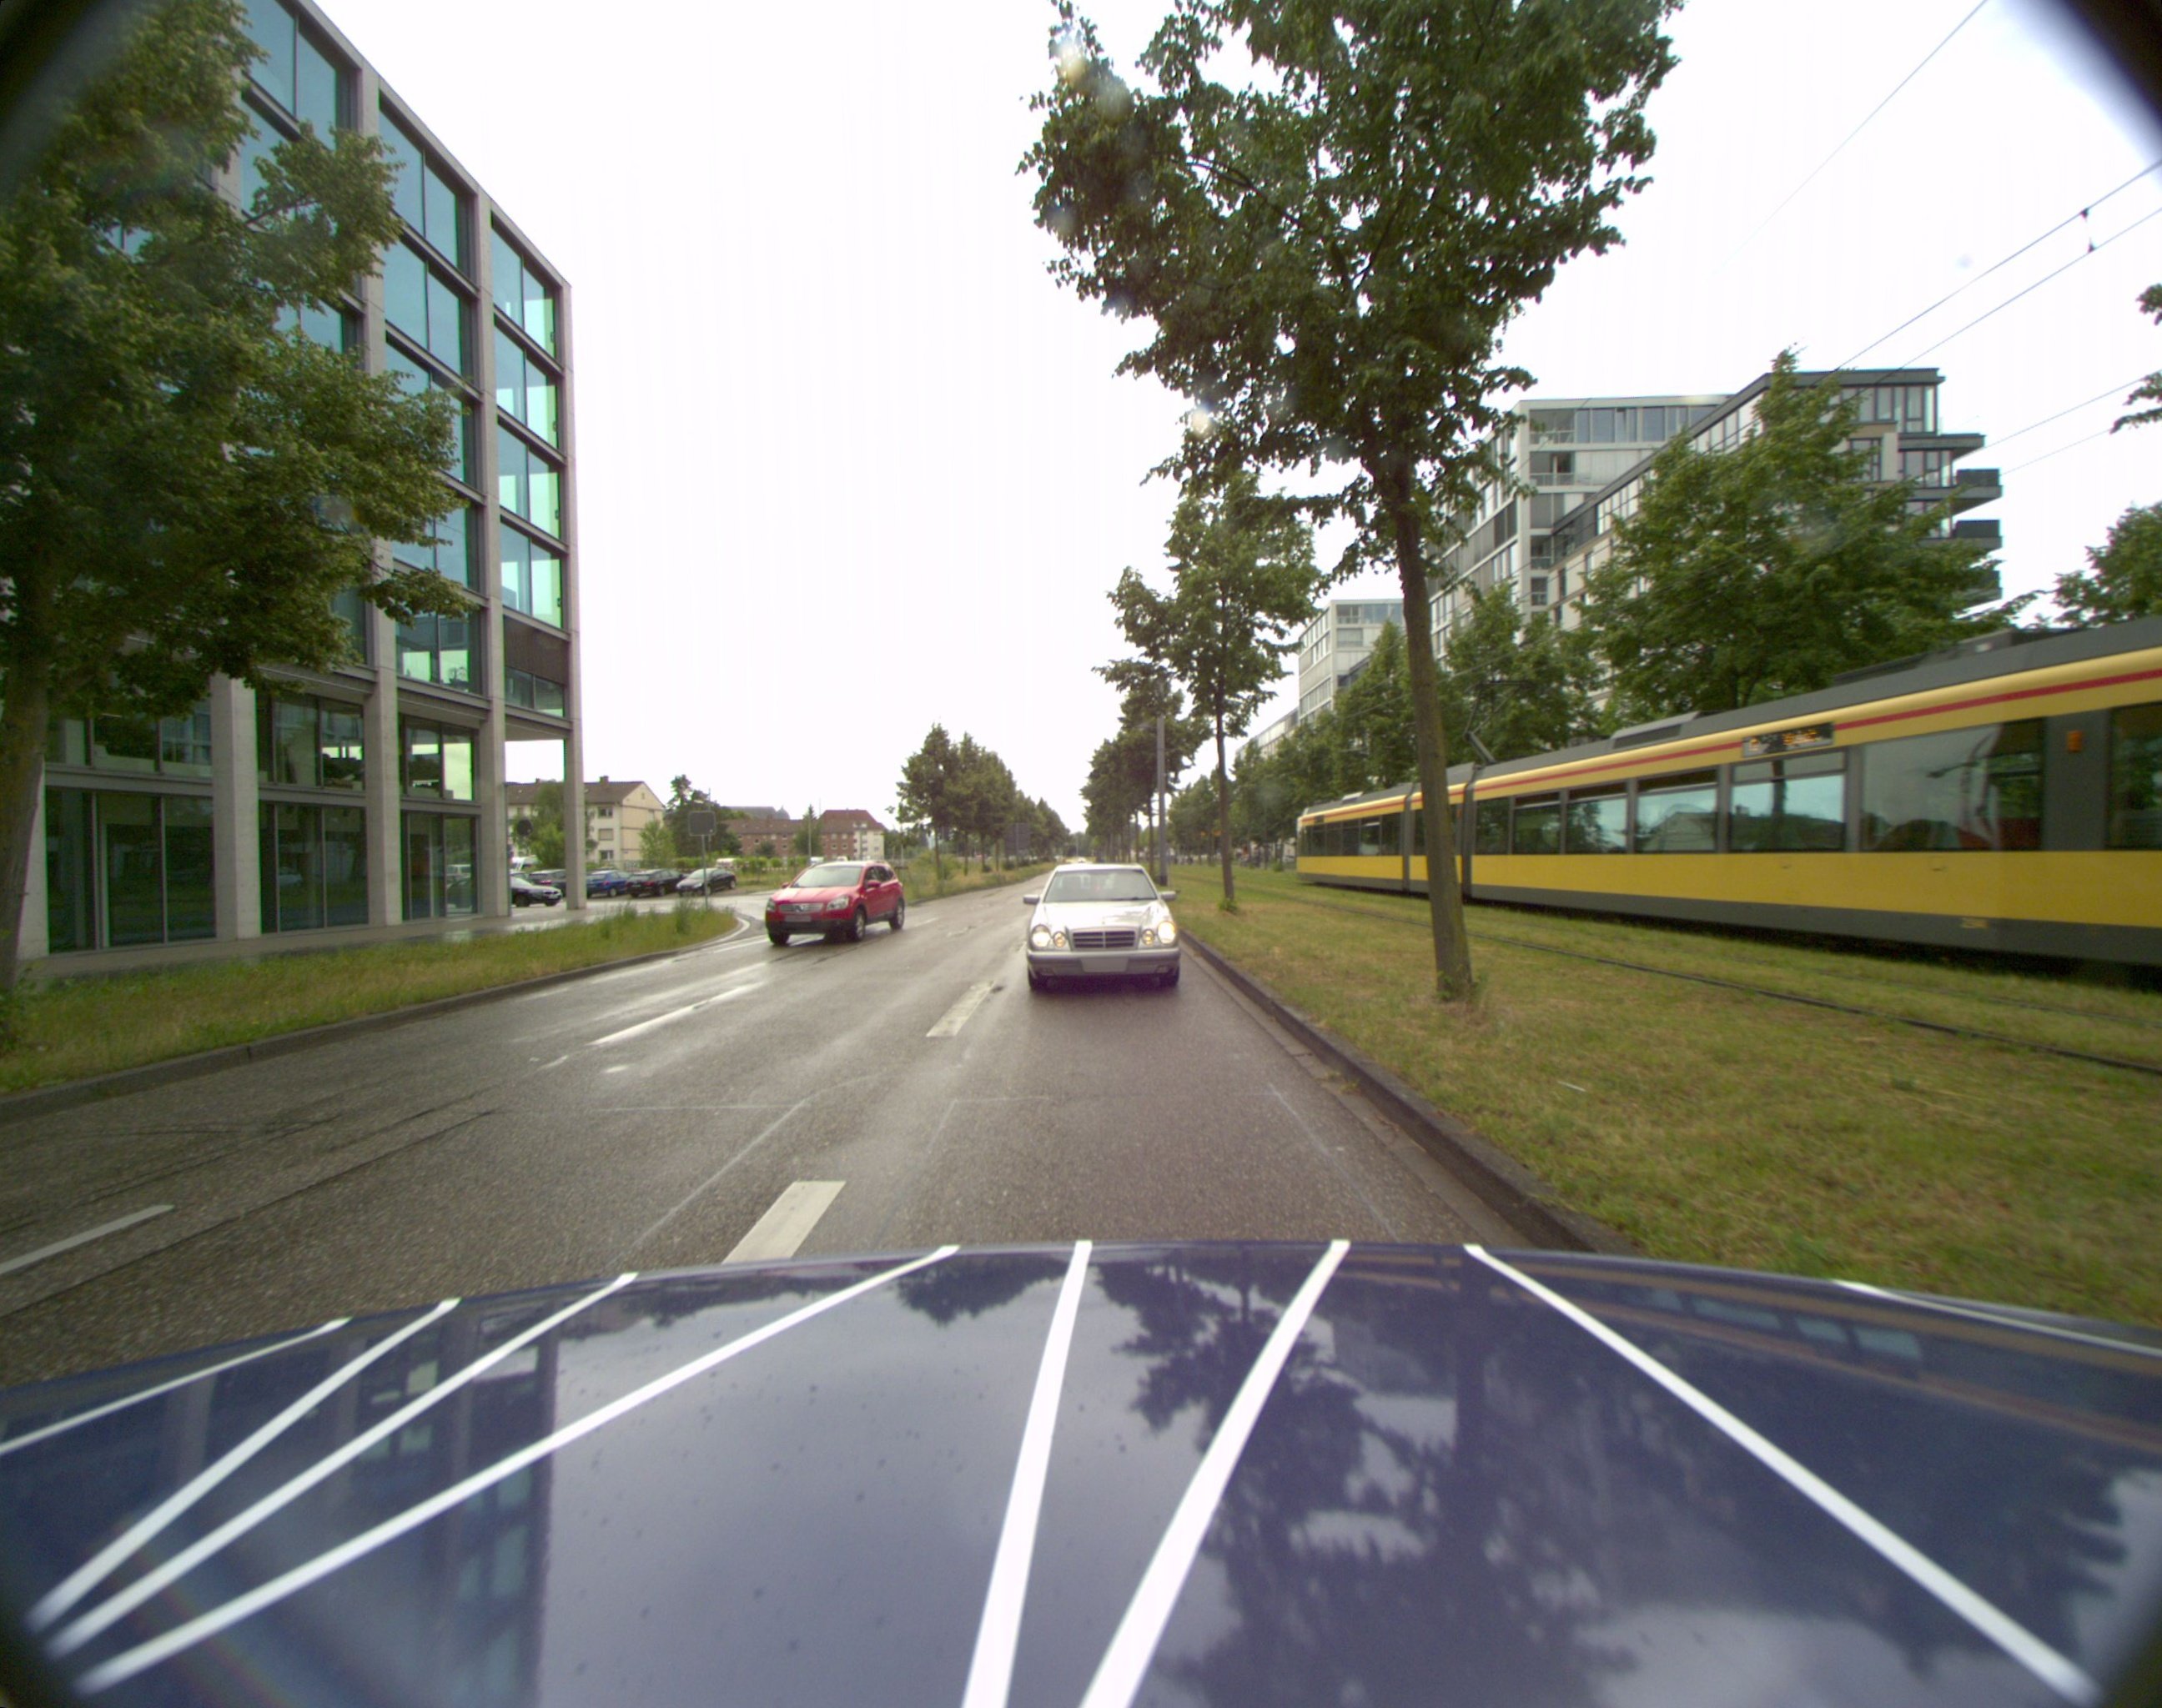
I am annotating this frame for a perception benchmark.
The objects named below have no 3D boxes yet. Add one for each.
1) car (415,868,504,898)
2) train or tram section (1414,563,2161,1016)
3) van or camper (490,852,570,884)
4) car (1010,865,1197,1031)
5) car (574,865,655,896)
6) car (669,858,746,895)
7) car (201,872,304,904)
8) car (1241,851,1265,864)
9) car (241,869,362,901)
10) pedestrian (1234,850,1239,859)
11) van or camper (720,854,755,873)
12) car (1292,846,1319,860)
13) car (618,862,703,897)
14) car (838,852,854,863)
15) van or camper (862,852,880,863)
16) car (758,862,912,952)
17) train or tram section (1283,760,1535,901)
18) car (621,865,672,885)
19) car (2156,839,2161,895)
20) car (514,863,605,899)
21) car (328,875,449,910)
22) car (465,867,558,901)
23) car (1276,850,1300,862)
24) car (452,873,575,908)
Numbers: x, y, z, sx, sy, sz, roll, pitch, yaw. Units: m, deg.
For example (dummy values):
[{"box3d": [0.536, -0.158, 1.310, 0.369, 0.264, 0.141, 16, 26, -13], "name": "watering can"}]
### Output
[{"box3d": [-37.633, 1.706, 46.163, 1.859, 1.592, 4.002, -2, 0, 6], "name": "car"}, {"box3d": [10.324, -0.565, 12.485, 3.137, 3.637, 15.063, -2, 0, 1], "name": "train or tram section"}, {"box3d": [-54.448, 1.301, 75.338, 2.914, 2.976, 6.777, -1, 0, 1], "name": "van or camper"}, {"box3d": [0.210, 0.933, 9.543, 1.738, 1.451, 4.607, -2, 0, 0], "name": "car"}, {"box3d": [-26.958, 1.496, 44.050, 1.859, 1.447, 4.000, -1, 3, 6], "name": "car"}, {"box3d": [-21.192, 1.256, 43.299, 1.858, 1.573, 3.999, -2, 5, 8], "name": "car"}, {"box3d": [-51.165, 2.069, 47.032, 1.860, 1.488, 4.028, -2, 4, -2], "name": "car"}, {"box3d": [20.393, 0.403, 90.015, 1.867, 1.515, 4.479, -1, 0, 1], "name": "car"}, {"box3d": [-36.285, 1.427, 35.428, 3.995, 1.364, 1.862, -1, -1, 6], "name": "car"}, {"box3d": [30.176, 0.165, 147.212, 0.712, 1.681, 0.793, -2, 1, 3], "name": "pedestrian"}, {"box3d": [-49.905, 1.300, 110.619, 2.314, 2.673, 6.395, -1, 0, -2], "name": "van or camper"}, {"box3d": [29.816, -0.162, 100.999, 1.999, 1.841, 5.164, -1, 0, 0], "name": "car"}, {"box3d": [-23.993, 1.411, 43.571, 1.859, 1.447, 4.555, -1, 5, 6], "name": "car"}, {"box3d": [-52.065, 0.773, 168.346, 2.278, 2.207, 4.758, -2, 0, -3], "name": "car"}, {"box3d": [-45.495, 0.722, 164.683, 2.208, 2.294, 6.147, -3, 0, -2], "name": "van or camper"}, {"box3d": [-5.046, 1.006, 16.259, 1.799, 1.603, 4.246, 0, 0, 2], "name": "car"}, {"box3d": [10.451, -0.627, 26.770, 3.137, 3.637, 13.406, -2, 0, 1], "name": "train or tram section"}, {"box3d": [-38.594, 1.820, 67.565, 1.859, 1.592, 4.002, -1, 0, 6], "name": "car"}, {"box3d": [28.682, 0.319, 17.557, 1.706, 1.441, 4.241, -2, 0, 1], "name": "car"}, {"box3d": [-30.189, 1.527, 44.173, 1.859, 1.593, 4.414, -1, 4, 6], "name": "car"}, {"box3d": [-31.754, 1.766, 34.899, 3.995, 1.479, 1.862, -1, -2, 4], "name": "car"}, {"box3d": [-32.850, 1.690, 44.009, 1.789, 1.467, 4.229, -1, 4, 6], "name": "car"}, {"box3d": [29.789, 0.281, 109.498, 2.150, 1.702, 4.463, -1, 0, 0], "name": "car"}, {"box3d": [-25.735, 1.644, 34.510, 4.227, 1.429, 1.982, -1, -1, 6], "name": "car"}]
